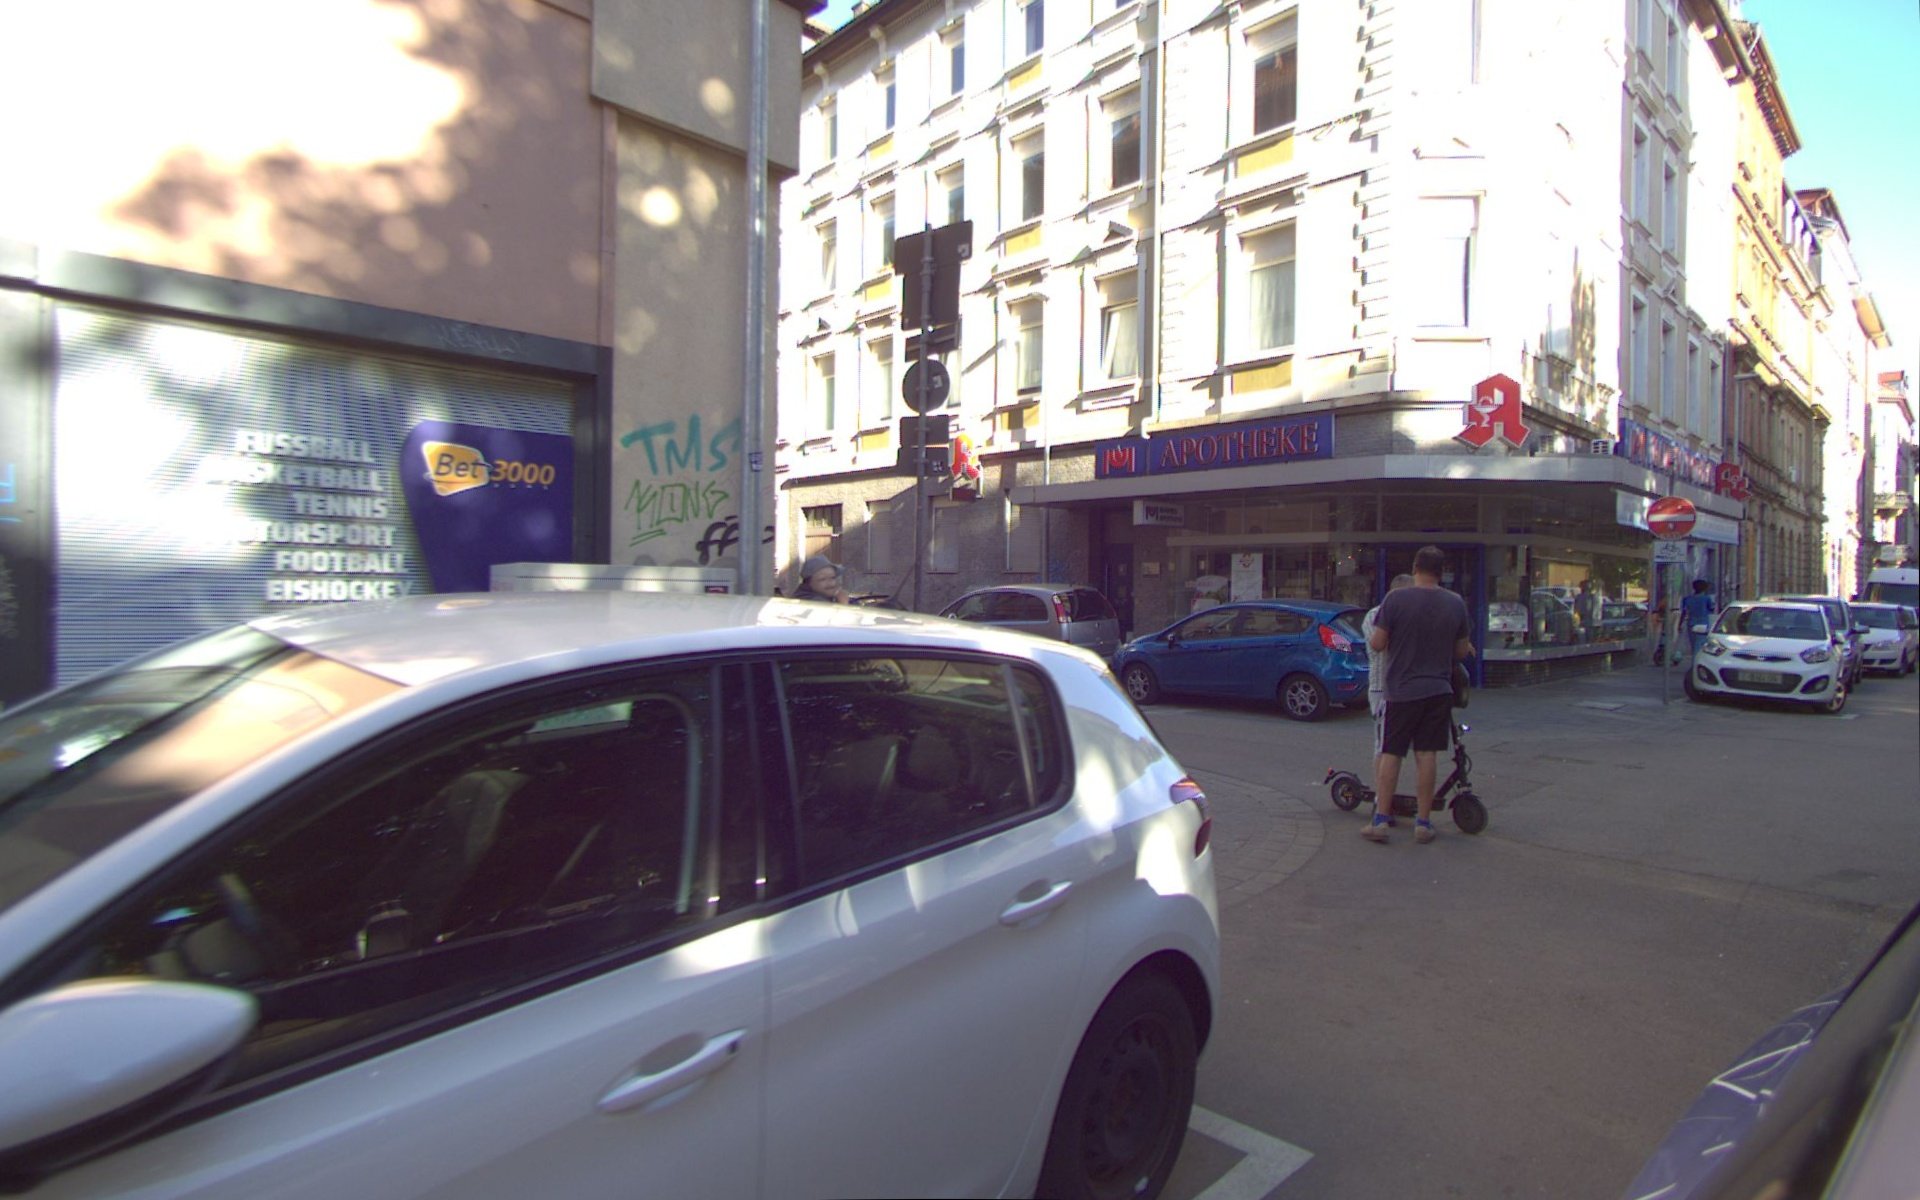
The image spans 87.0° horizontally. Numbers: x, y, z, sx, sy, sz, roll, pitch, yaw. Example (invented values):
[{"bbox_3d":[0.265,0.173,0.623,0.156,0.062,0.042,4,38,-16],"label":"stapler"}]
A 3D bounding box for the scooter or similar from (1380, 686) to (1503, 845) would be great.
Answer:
[{"bbox_3d":[3.056,1.012,6.400,0.910,0.839,0.394,-1,0,-43],"label":"scooter or similar"}]

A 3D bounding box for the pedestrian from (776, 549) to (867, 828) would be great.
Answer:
[{"bbox_3d":[-0.885,0.535,6.384,0.455,1.671,0.602,3,-1,-12],"label":"pedestrian"}]

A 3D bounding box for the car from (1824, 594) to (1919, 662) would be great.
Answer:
[{"bbox_3d":[22.609,0.636,24.858,3.844,1.505,1.589,-1,1,-41],"label":"car"}]

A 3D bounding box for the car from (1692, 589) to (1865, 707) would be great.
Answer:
[{"bbox_3d":[12.091,0.599,14.874,1.689,1.481,3.584,0,1,44],"label":"car"}]

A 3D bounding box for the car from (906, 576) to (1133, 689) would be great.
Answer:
[{"bbox_3d":[0.904,0.434,16.866,1.602,1.650,3.739,-2,2,-43],"label":"car"}]

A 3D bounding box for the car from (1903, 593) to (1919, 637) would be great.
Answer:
[{"bbox_3d":[37.077,0.553,38.381,3.749,1.645,1.694,0,1,-43],"label":"car"}]

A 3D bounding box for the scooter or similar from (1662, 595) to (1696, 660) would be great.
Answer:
[{"bbox_3d":[14.967,0.559,21.058,1.019,1.296,0.395,-1,0,-44],"label":"scooter or similar"}]

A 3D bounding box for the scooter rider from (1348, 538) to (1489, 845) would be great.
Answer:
[{"bbox_3d":[2.818,0.536,6.264,0.554,1.801,0.612,0,0,-3],"label":"scooter rider"}]

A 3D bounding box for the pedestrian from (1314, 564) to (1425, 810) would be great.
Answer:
[{"bbox_3d":[2.859,0.584,7.101,0.555,1.659,0.528,0,0,1],"label":"pedestrian"}]

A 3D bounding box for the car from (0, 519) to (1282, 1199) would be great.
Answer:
[{"bbox_3d":[-1.170,0.683,1.935,1.787,1.535,4.071,0,1,44],"label":"car"}]

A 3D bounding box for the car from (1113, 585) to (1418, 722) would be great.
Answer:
[{"bbox_3d":[4.026,0.597,13.701,1.759,1.504,3.578,-3,3,-43],"label":"car"}]

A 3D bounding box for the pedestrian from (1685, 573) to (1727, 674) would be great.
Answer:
[{"bbox_3d":[14.376,0.435,19.492,0.521,1.918,0.562,0,0,-44],"label":"pedestrian"}]

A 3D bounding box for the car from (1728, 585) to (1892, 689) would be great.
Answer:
[{"bbox_3d":[15.651,0.570,18.547,4.411,1.671,1.801,-1,1,-43],"label":"car"}]

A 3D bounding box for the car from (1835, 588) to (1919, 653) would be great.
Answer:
[{"bbox_3d":[26.305,0.524,28.555,4.487,1.667,1.995,-1,1,-43],"label":"car"}]

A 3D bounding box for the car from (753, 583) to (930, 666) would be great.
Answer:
[{"bbox_3d":[-2.484,0.409,20.503,1.533,1.473,3.982,-1,2,-43],"label":"car"}]

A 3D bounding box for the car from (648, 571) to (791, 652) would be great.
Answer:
[{"bbox_3d":[-5.725,0.193,23.766,1.533,1.739,3.982,-1,2,-43],"label":"car"}]

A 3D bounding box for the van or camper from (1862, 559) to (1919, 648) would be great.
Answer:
[{"bbox_3d":[30.586,0.067,32.421,5.879,2.665,1.995,-1,1,-43],"label":"van or camper"}]

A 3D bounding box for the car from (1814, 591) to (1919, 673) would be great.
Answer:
[{"bbox_3d":[19.336,0.600,21.338,4.130,1.545,1.556,-1,1,-43],"label":"car"}]

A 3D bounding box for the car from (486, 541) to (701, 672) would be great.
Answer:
[{"bbox_3d":[-6.026,0.083,16.404,1.836,1.864,3.930,3,-1,-43],"label":"car"}]
